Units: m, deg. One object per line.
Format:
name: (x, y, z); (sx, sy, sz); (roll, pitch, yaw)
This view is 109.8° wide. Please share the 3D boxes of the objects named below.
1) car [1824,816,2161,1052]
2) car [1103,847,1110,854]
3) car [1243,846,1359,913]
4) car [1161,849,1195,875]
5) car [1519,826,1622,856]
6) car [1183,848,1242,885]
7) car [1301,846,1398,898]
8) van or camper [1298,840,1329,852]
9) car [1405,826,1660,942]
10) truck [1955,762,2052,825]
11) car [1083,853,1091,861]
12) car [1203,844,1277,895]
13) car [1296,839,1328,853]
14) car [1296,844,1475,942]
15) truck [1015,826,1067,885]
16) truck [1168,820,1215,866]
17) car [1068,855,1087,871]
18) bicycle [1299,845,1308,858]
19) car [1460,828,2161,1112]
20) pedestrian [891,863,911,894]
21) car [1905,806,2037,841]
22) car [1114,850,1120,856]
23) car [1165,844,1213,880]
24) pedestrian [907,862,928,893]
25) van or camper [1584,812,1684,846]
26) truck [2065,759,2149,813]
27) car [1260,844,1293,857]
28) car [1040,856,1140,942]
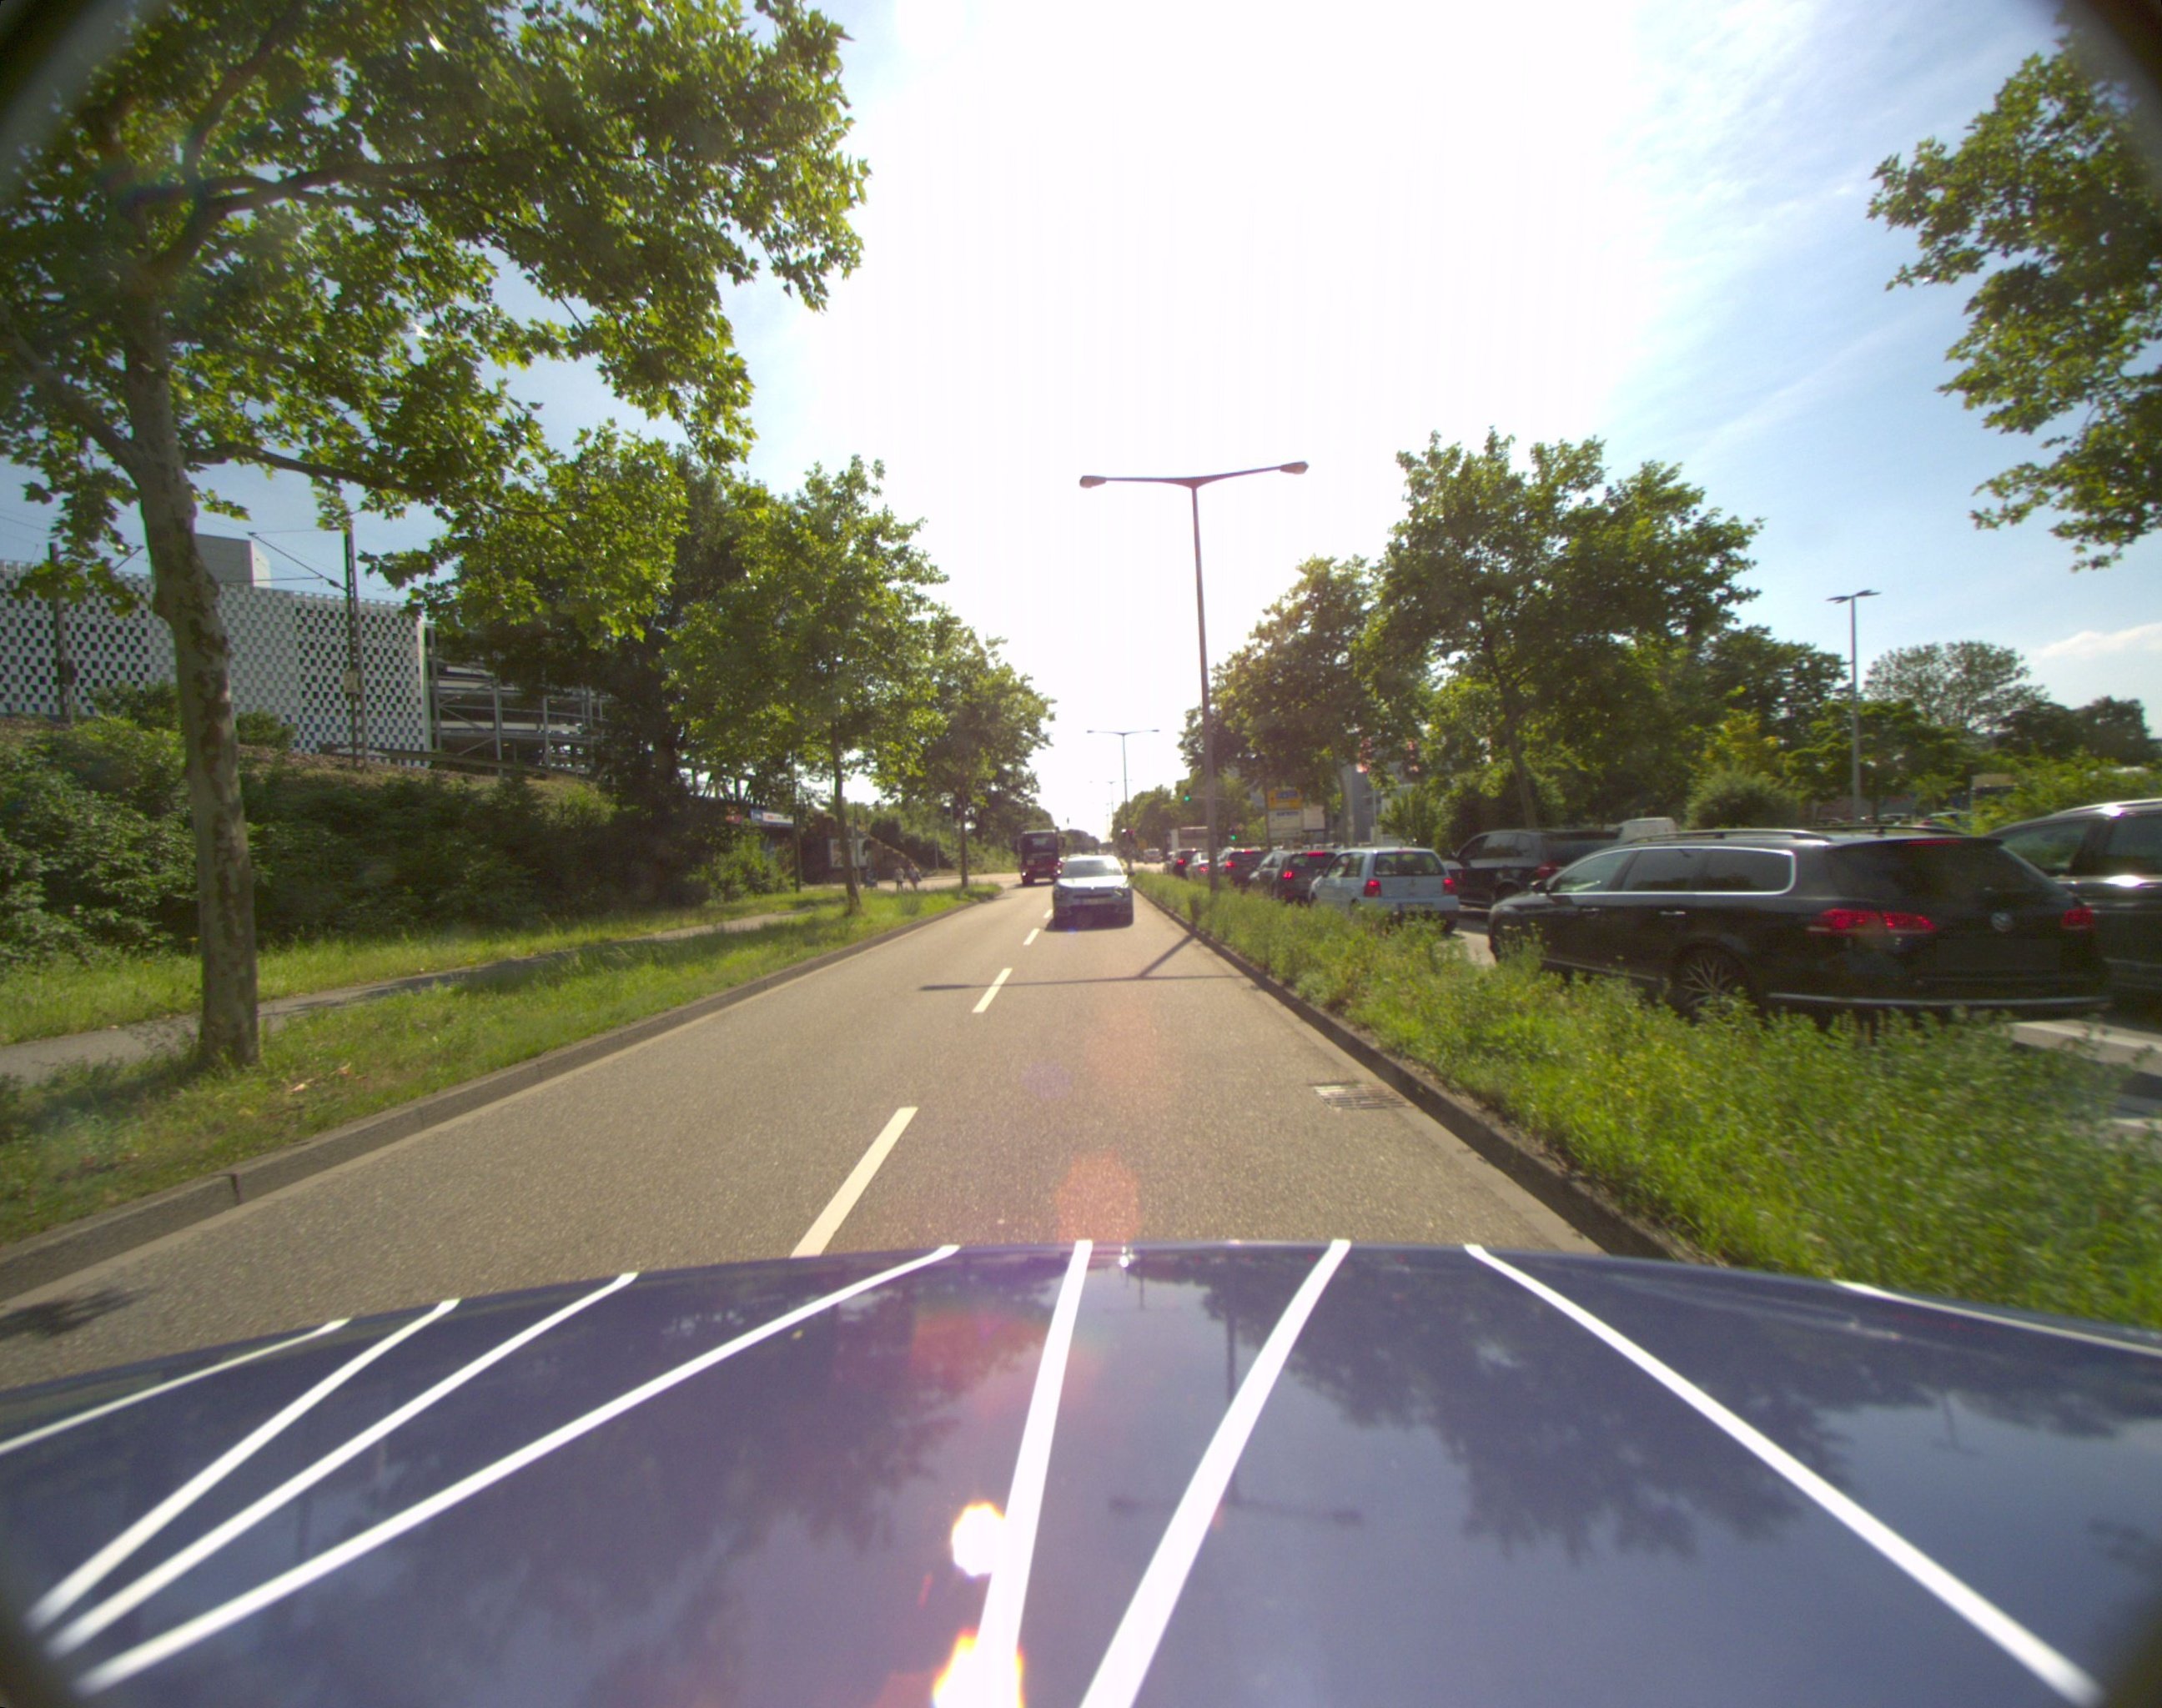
car: (8.306, 0.525, 5.545); (1.693, 1.637, 4.178); (-2, 0, 1)
car: (7.953, -1.165, 236.708); (1.998, 2.002, 4.000); (-3, 0, 1)
car: (5.352, 0.567, 19.022); (1.693, 1.465, 4.218); (-1, 0, 1)
car: (5.895, 0.456, 46.329); (1.597, 1.468, 3.729); (-2, 0, 1)
car: (27.983, -0.741, 43.523); (4.576, 1.406, 2.199); (-3, 1, -6)
car: (5.569, 0.499, 32.733); (1.801, 1.459, 4.523); (-2, 0, 1)
car: (8.662, 0.534, 24.907); (1.693, 1.521, 4.083); (-1, 0, 0)
van or camper: (38.383, -1.368, 125.674); (2.003, 1.682, 4.501); (-3, 0, -37)
car: (8.038, 0.428, 14.181); (1.826, 1.727, 4.767); (-2, 1, -1)
truck: (55.260, -3.552, 45.448); (8.939, 3.292, 3.152); (-3, 0, -36)
car: (1.539, 0.734, 192.483); (1.998, 2.002, 4.000); (-3, 0, 1)
car: (5.404, 0.495, 26.318); (1.693, 1.577, 4.240); (-2, 0, 1)
car: (30.774, -1.114, 101.256); (4.007, 1.689, 1.995); (-3, 0, -37)
car: (5.270, 0.602, 13.704); (1.693, 1.463, 3.814); (-2, 0, 1)
truck: (-2.383, 0.088, 47.089); (2.776, 3.248, 7.481); (-3, 0, -2)
truck: (8.888, -0.828, 61.858); (2.811, 3.451, 6.691); (-1, 0, 1)
car: (-0.343, 0.933, 81.760); (1.826, 1.521, 4.548); (-3, 0, 2)
bicycle: (18.542, -0.221, 63.346); (0.595, 1.031, 1.897); (-3, 1, 15)
car: (5.366, 0.634, 6.592); (1.762, 1.521, 4.827); (-2, 0, 1)
pedestrian: (-9.531, 1.273, 40.243); (0.731, 1.570, 0.777); (-3, 1, 0)
car: (46.260, -1.560, 39.577); (1.824, 1.563, 4.269); (-4, 1, -35)
car: (10.088, -0.319, 212.195); (1.653, 1.505, 3.736); (-3, 0, 1)
car: (5.554, 0.367, 39.576); (1.824, 1.637, 4.693); (-2, 1, 1)
pedestrian: (-8.601, 1.226, 39.953); (0.870, 1.602, 0.777); (-3, 1, 0)
van or camper: (41.020, -1.814, 56.539); (2.199, 2.197, 5.505); (-4, 1, -33)
truck: (64.782, -4.211, 47.953); (9.630, 2.875, 2.919); (-3, 0, -36)
car: (24.837, -0.402, 96.549); (4.006, 1.441, 1.843); (-3, 0, -35)
car: (0.251, 0.866, 16.890); (1.826, 1.521, 4.752); (-3, 0, 2)
